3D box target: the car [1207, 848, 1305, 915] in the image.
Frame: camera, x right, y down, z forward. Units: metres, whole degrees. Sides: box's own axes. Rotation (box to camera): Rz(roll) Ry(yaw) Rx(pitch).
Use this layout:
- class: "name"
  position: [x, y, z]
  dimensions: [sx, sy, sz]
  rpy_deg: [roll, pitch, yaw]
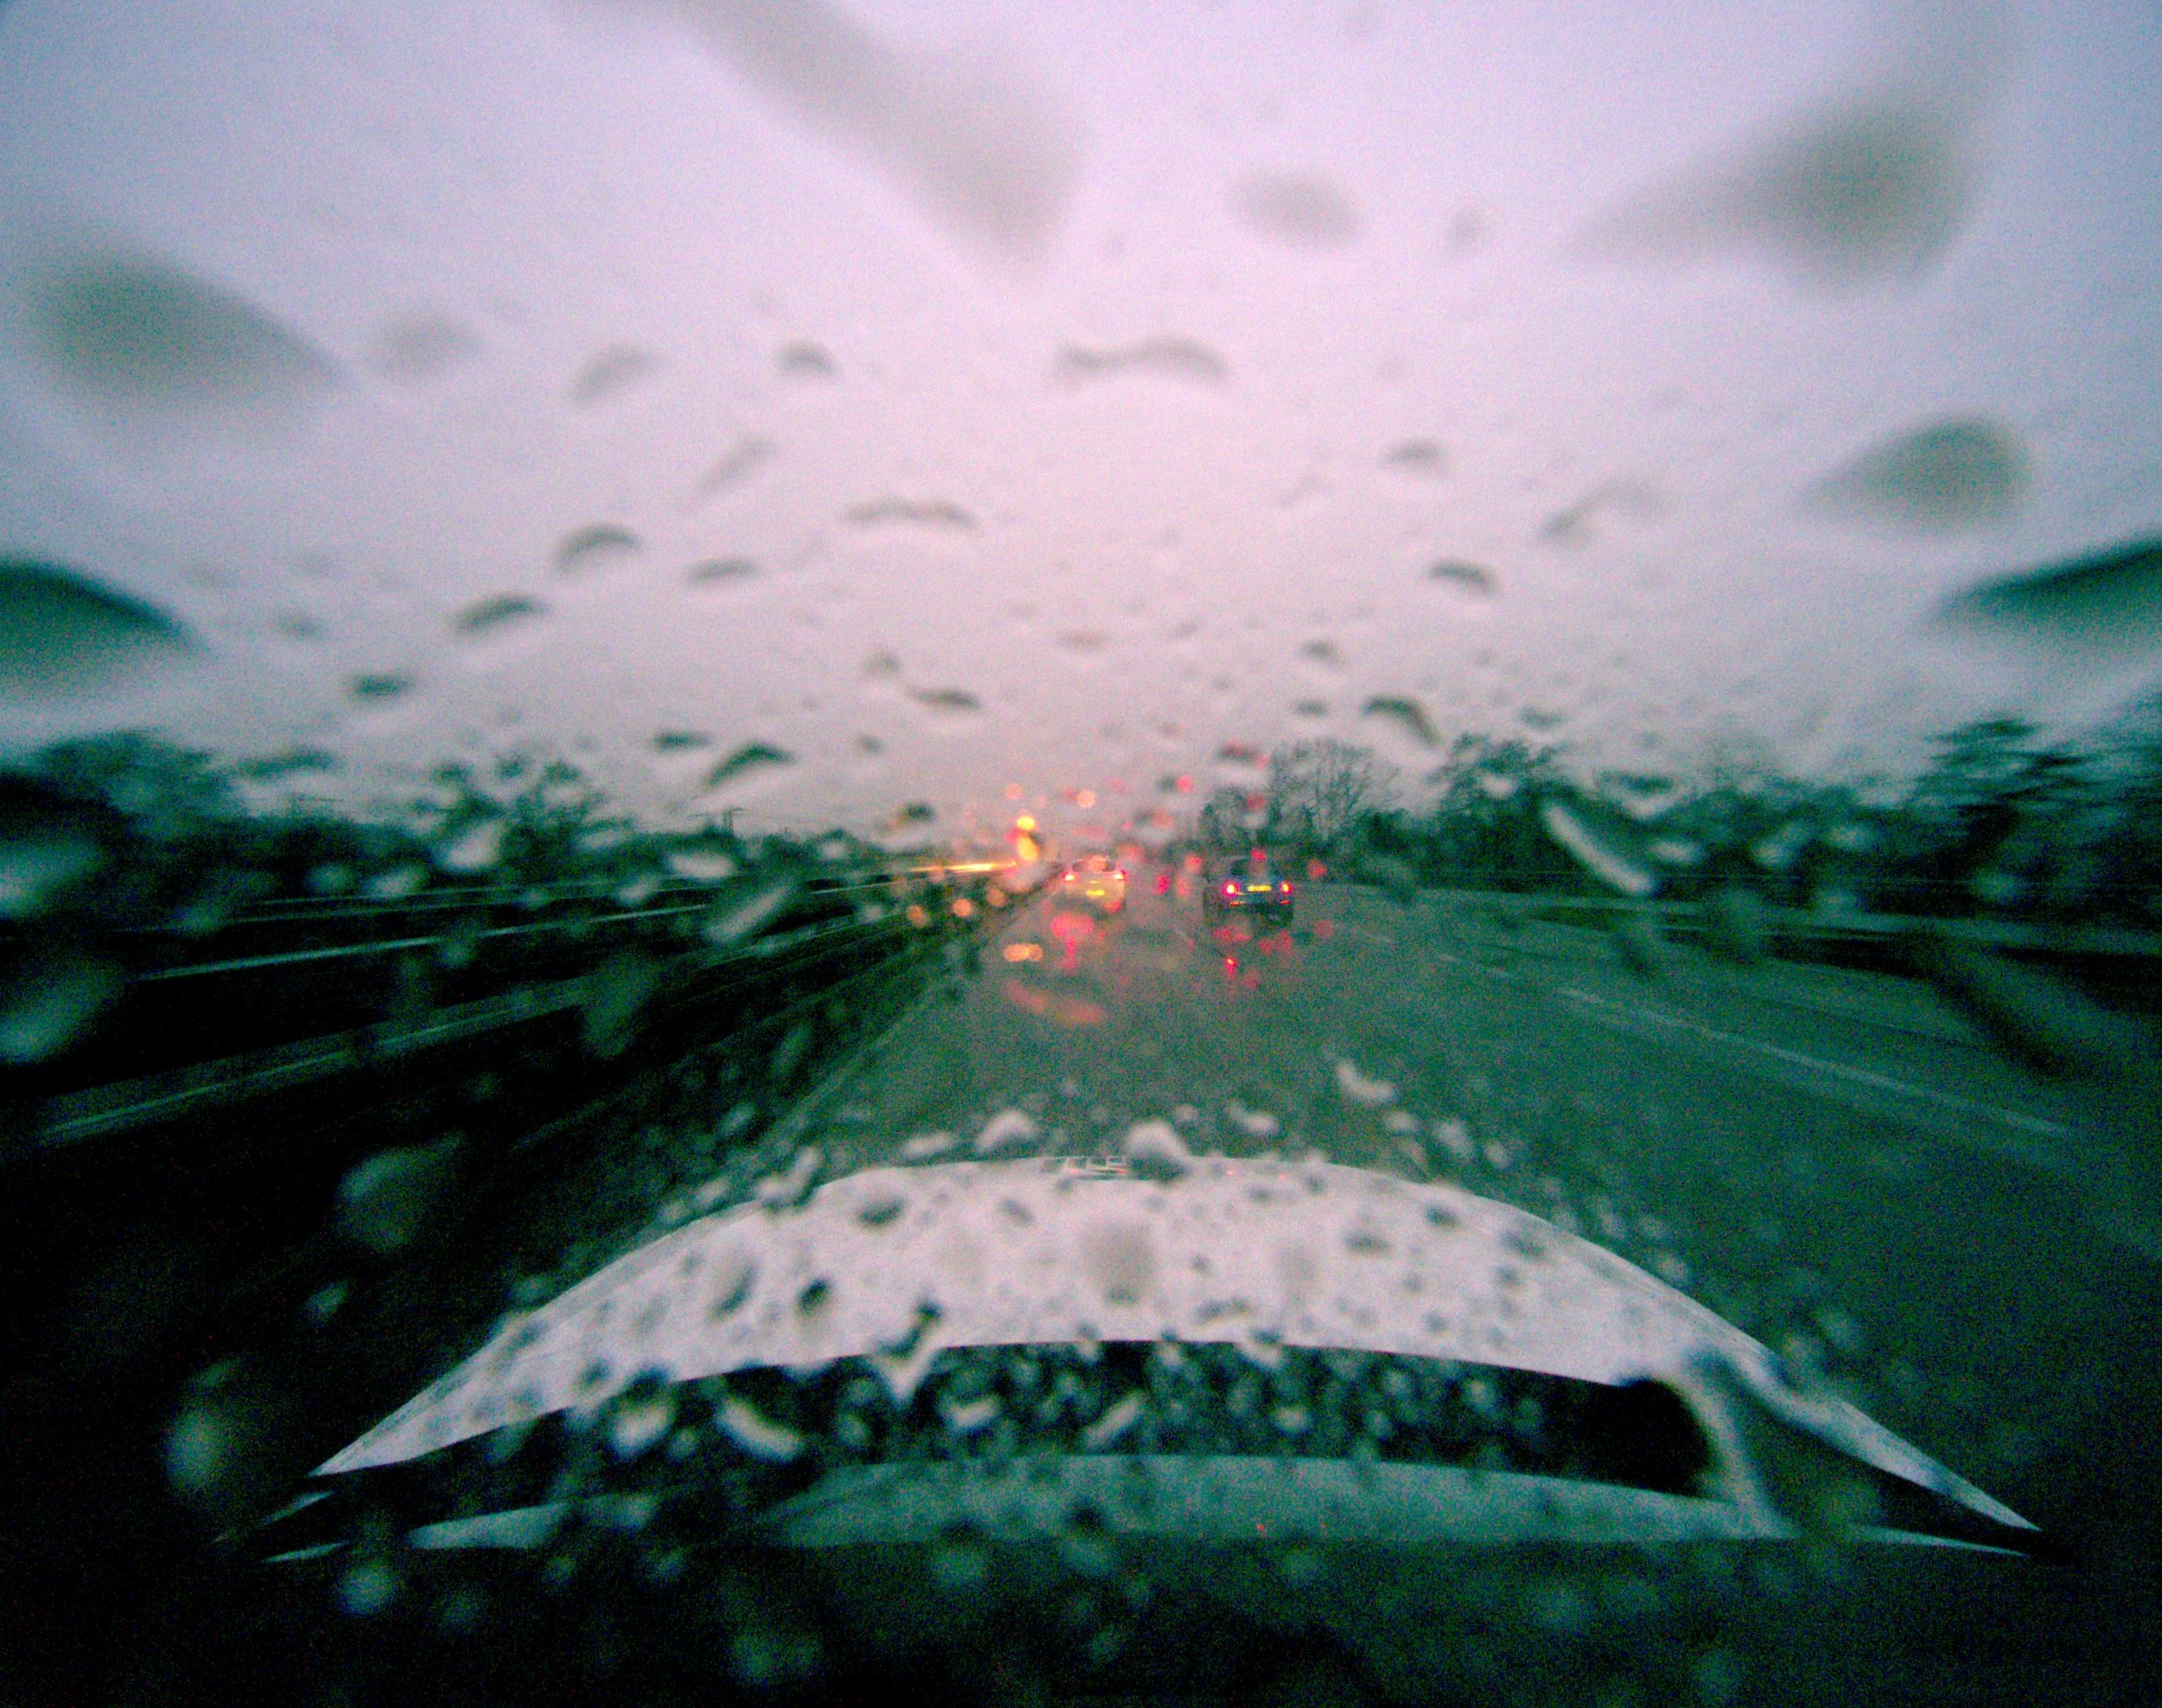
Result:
- class: "car"
  position: [4.155, 0.585, 19.913]
  dimensions: [1.837, 1.453, 4.155]
  rpy_deg: [-1, 0, 5]

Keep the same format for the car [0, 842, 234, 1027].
- class: "car"
  position: [-11.365, 0.777, 7.607]
  dimensions: [1.888, 1.784, 4.706]
  rpy_deg: [0, 0, 2]

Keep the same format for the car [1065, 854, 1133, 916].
- class: "car"
  position: [0.576, 0.856, 24.255]
  dimensions: [1.838, 1.636, 3.770]
  rpy_deg: [-1, 0, 2]
